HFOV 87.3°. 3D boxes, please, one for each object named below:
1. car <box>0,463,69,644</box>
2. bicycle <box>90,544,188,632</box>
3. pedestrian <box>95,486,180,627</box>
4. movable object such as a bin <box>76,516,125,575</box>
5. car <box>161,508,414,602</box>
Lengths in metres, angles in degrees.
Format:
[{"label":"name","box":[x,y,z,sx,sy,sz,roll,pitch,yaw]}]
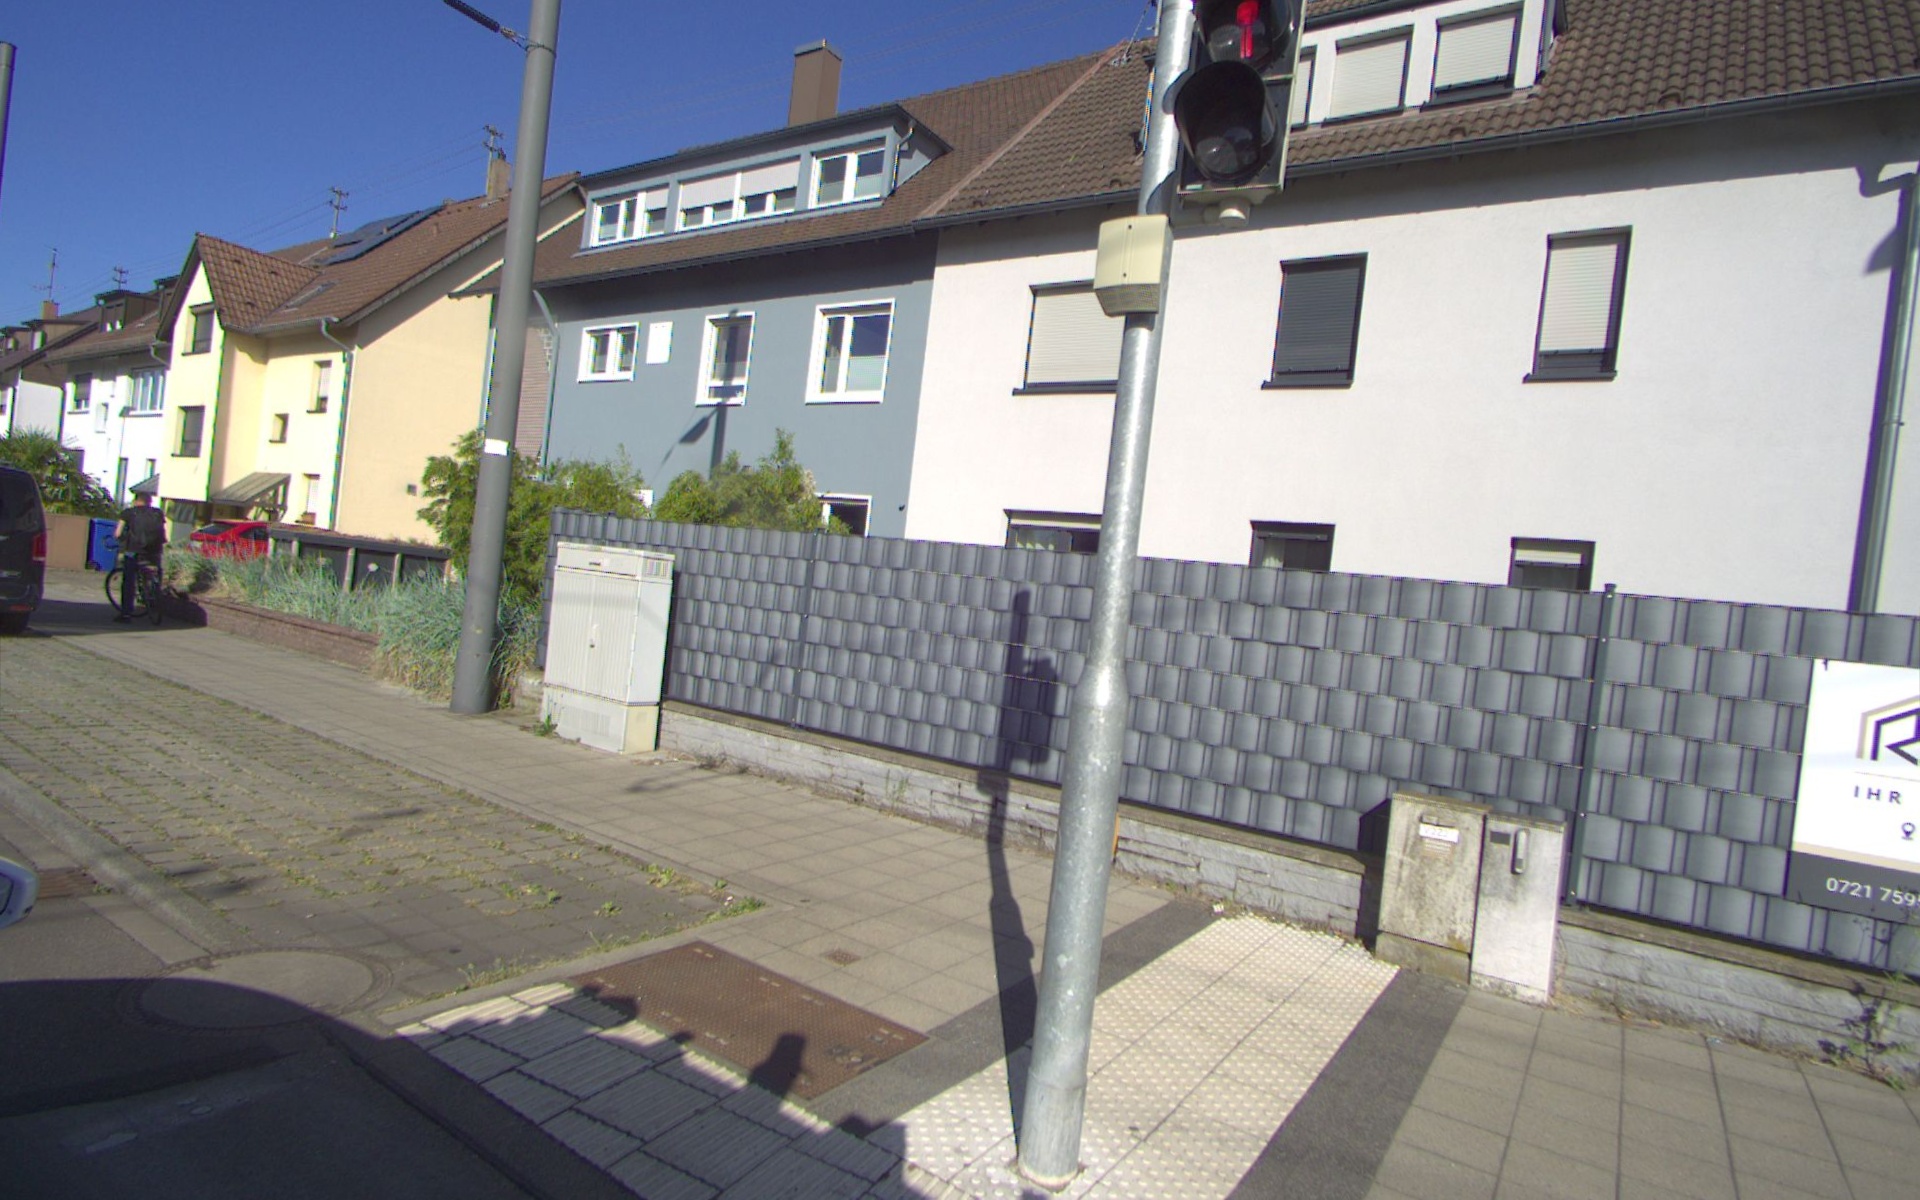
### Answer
[{"label":"car","box":[-12.269,-0.750,11.488,4.849,1.859,1.962,7,0,35]},{"label":"bicycle","box":[-10.665,-0.160,13.048,1.538,0.992,0.600,6,2,37]},{"label":"pedestrian","box":[-10.748,-0.563,13.144,0.703,1.745,0.582,7,1,36]},{"label":"movable object such as a bin","box":[-17.848,-1.128,20.888,0.312,1.129,0.668,7,2,35]},{"label":"car","box":[-14.696,-0.937,22.194,1.869,1.486,4.167,8,0,34]}]
